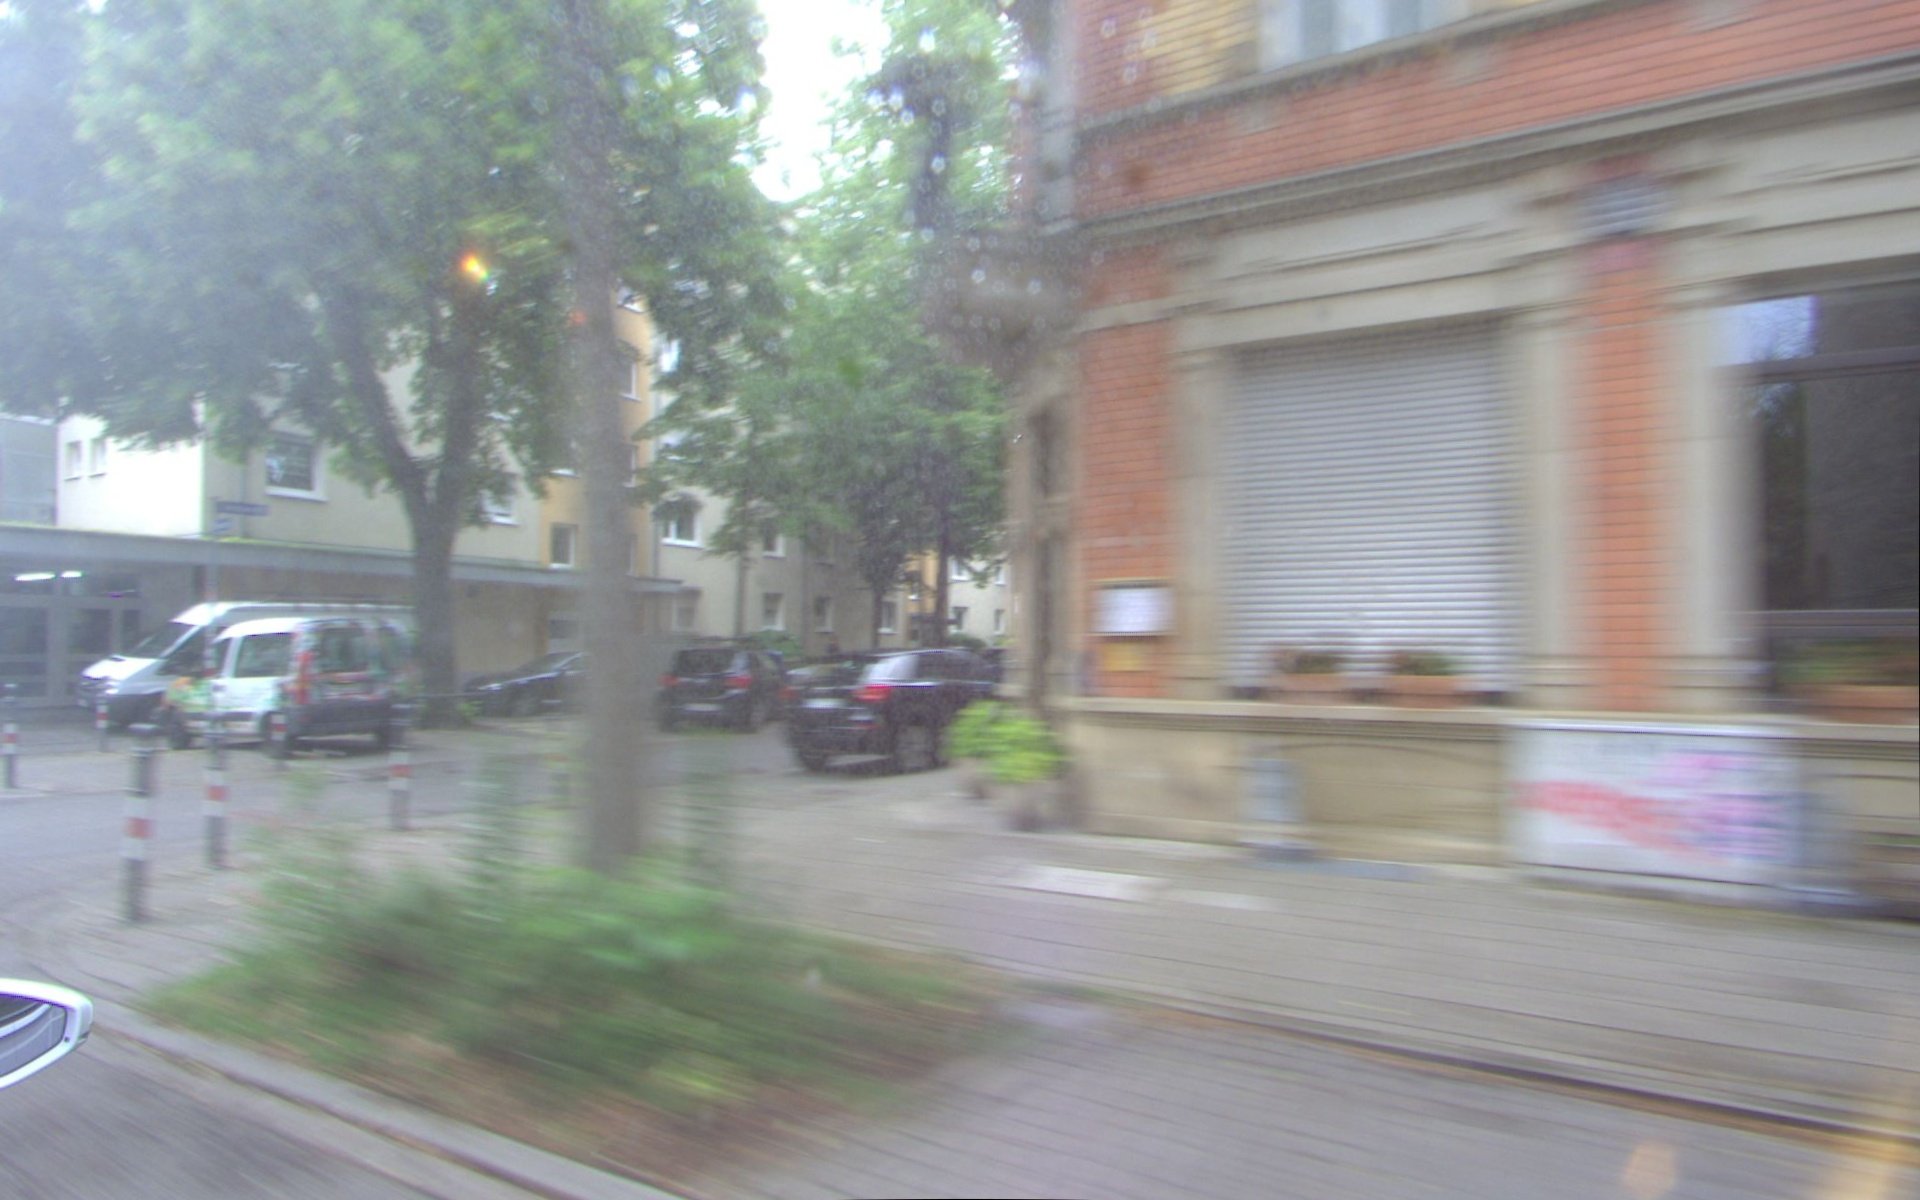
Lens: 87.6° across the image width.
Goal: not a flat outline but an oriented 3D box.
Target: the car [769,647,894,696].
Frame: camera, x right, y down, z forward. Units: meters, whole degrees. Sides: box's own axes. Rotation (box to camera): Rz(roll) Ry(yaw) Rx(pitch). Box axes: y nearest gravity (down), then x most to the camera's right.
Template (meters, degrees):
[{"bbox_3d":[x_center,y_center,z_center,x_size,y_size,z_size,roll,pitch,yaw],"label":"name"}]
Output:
[{"bbox_3d":[-4.091,2.262,32.332,1.754,1.436,3.975,-1,-3,37],"label":"car"}]

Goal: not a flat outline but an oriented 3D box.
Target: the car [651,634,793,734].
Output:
[{"bbox_3d":[-4.198,1.447,18.274,1.652,1.601,3.954,1,-2,-1],"label":"car"}]

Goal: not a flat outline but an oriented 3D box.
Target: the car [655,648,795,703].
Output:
[{"bbox_3d":[-6.633,2.101,28.527,1.612,1.446,3.681,-1,-3,39],"label":"car"}]

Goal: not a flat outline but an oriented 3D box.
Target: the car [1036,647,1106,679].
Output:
[{"bbox_3d":[4.998,2.841,44.817,1.491,1.385,3.498,-3,-5,38],"label":"car"}]

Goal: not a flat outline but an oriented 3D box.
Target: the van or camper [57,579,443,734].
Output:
[{"bbox_3d":[-13.539,1.021,19.605,2.105,2.527,5.762,3,0,32],"label":"van or camper"}]

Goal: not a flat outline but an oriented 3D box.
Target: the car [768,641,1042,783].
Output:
[{"bbox_3d":[-0.568,1.355,13.140,1.638,1.559,3.815,-3,-4,34],"label":"car"}]

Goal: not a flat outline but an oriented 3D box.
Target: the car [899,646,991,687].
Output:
[{"bbox_3d":[-0.503,2.434,36.384,1.491,1.385,3.498,-3,-5,38],"label":"car"}]

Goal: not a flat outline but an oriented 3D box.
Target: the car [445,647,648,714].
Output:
[{"bbox_3d":[-9.844,1.859,24.101,1.884,1.446,4.152,-1,-3,39],"label":"car"}]

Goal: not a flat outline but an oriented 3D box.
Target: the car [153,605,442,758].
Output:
[{"bbox_3d":[-9.223,1.053,13.896,3.940,1.842,1.769,-1,-2,30],"label":"car"}]

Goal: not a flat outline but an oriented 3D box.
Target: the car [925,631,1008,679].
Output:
[{"bbox_3d":[0.339,2.407,44.684,1.971,2.039,3.981,-1,-2,32],"label":"car"}]

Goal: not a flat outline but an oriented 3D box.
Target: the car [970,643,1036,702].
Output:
[{"bbox_3d":[1.112,1.926,27.482,1.632,1.482,4.002,0,-2,0],"label":"car"}]
